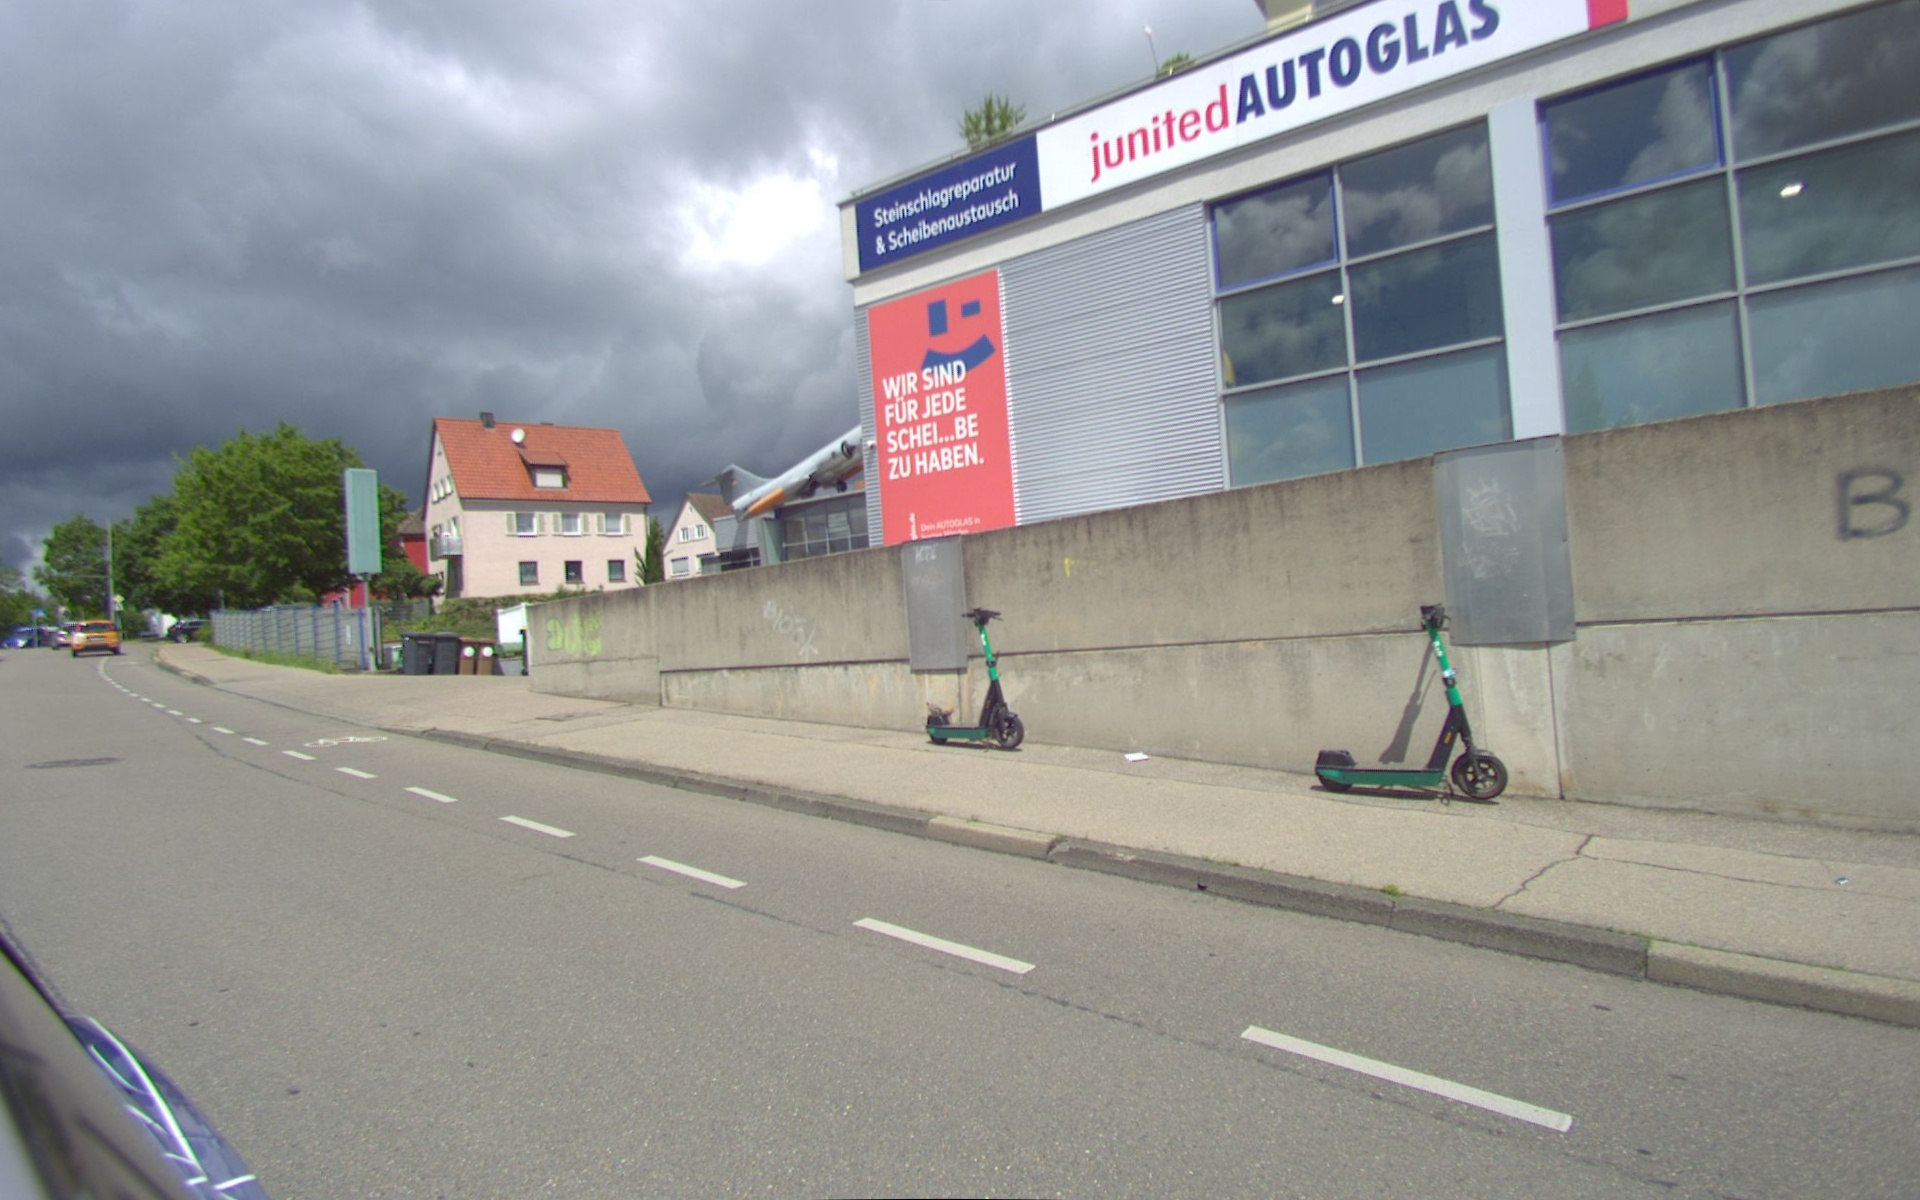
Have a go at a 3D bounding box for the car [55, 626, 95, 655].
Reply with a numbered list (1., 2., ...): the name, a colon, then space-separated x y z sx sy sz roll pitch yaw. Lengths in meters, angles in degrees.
1. car: -50.895 2.279 58.169 1.623 1.544 4.226 -2 0 -43

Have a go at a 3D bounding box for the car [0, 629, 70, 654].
1. car: -83.780 3.757 91.701 1.933 1.984 5.135 -2 0 -3

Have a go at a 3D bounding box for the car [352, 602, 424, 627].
1. car: -38.188 0.960 67.562 3.957 1.517 1.589 -2 0 -39

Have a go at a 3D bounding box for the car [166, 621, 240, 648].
1. car: -49.183 2.229 65.763 3.798 1.517 1.589 -2 0 -39

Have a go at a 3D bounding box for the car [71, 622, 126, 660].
1. car: -37.646 1.748 44.286 1.580 1.502 3.690 -2 0 -37

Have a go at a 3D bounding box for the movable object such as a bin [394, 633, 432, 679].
1. movable object such as a bin: -13.189 1.349 24.418 0.517 1.089 0.655 -2 -4 44

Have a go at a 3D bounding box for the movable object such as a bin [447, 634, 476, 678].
1. movable object such as a bin: -12.467 1.398 25.314 0.498 1.068 0.496 -2 -4 44

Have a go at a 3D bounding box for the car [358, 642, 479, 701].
1. car: -21.884 2.821 40.958 3.939 2.029 1.854 -2 0 -43

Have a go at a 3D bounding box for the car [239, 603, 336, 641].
1. car: -34.539 1.095 52.072 1.524 1.789 3.900 -2 0 44

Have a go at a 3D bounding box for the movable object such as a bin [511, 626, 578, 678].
1. movable object such as a bin: -10.894 1.355 26.507 1.232 1.316 1.207 -2 -4 44

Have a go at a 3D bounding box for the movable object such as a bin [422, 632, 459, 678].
1. movable object such as a bin: -12.744 1.347 24.823 0.517 1.089 0.655 -2 -4 44

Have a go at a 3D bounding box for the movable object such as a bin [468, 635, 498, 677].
1. movable object such as a bin: -12.092 1.410 25.652 0.517 1.053 0.509 -2 -4 44

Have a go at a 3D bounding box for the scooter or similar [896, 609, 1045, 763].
1. scooter or similar: 0.078 0.746 9.249 1.305 1.285 0.551 -2 0 43

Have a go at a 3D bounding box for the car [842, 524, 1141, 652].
1. car: 0.410 -0.126 15.023 4.102 1.649 1.791 -2 0 34

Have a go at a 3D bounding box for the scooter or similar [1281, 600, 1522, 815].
1. scooter or similar: 2.928 0.676 6.751 1.379 1.285 0.515 -2 2 33
